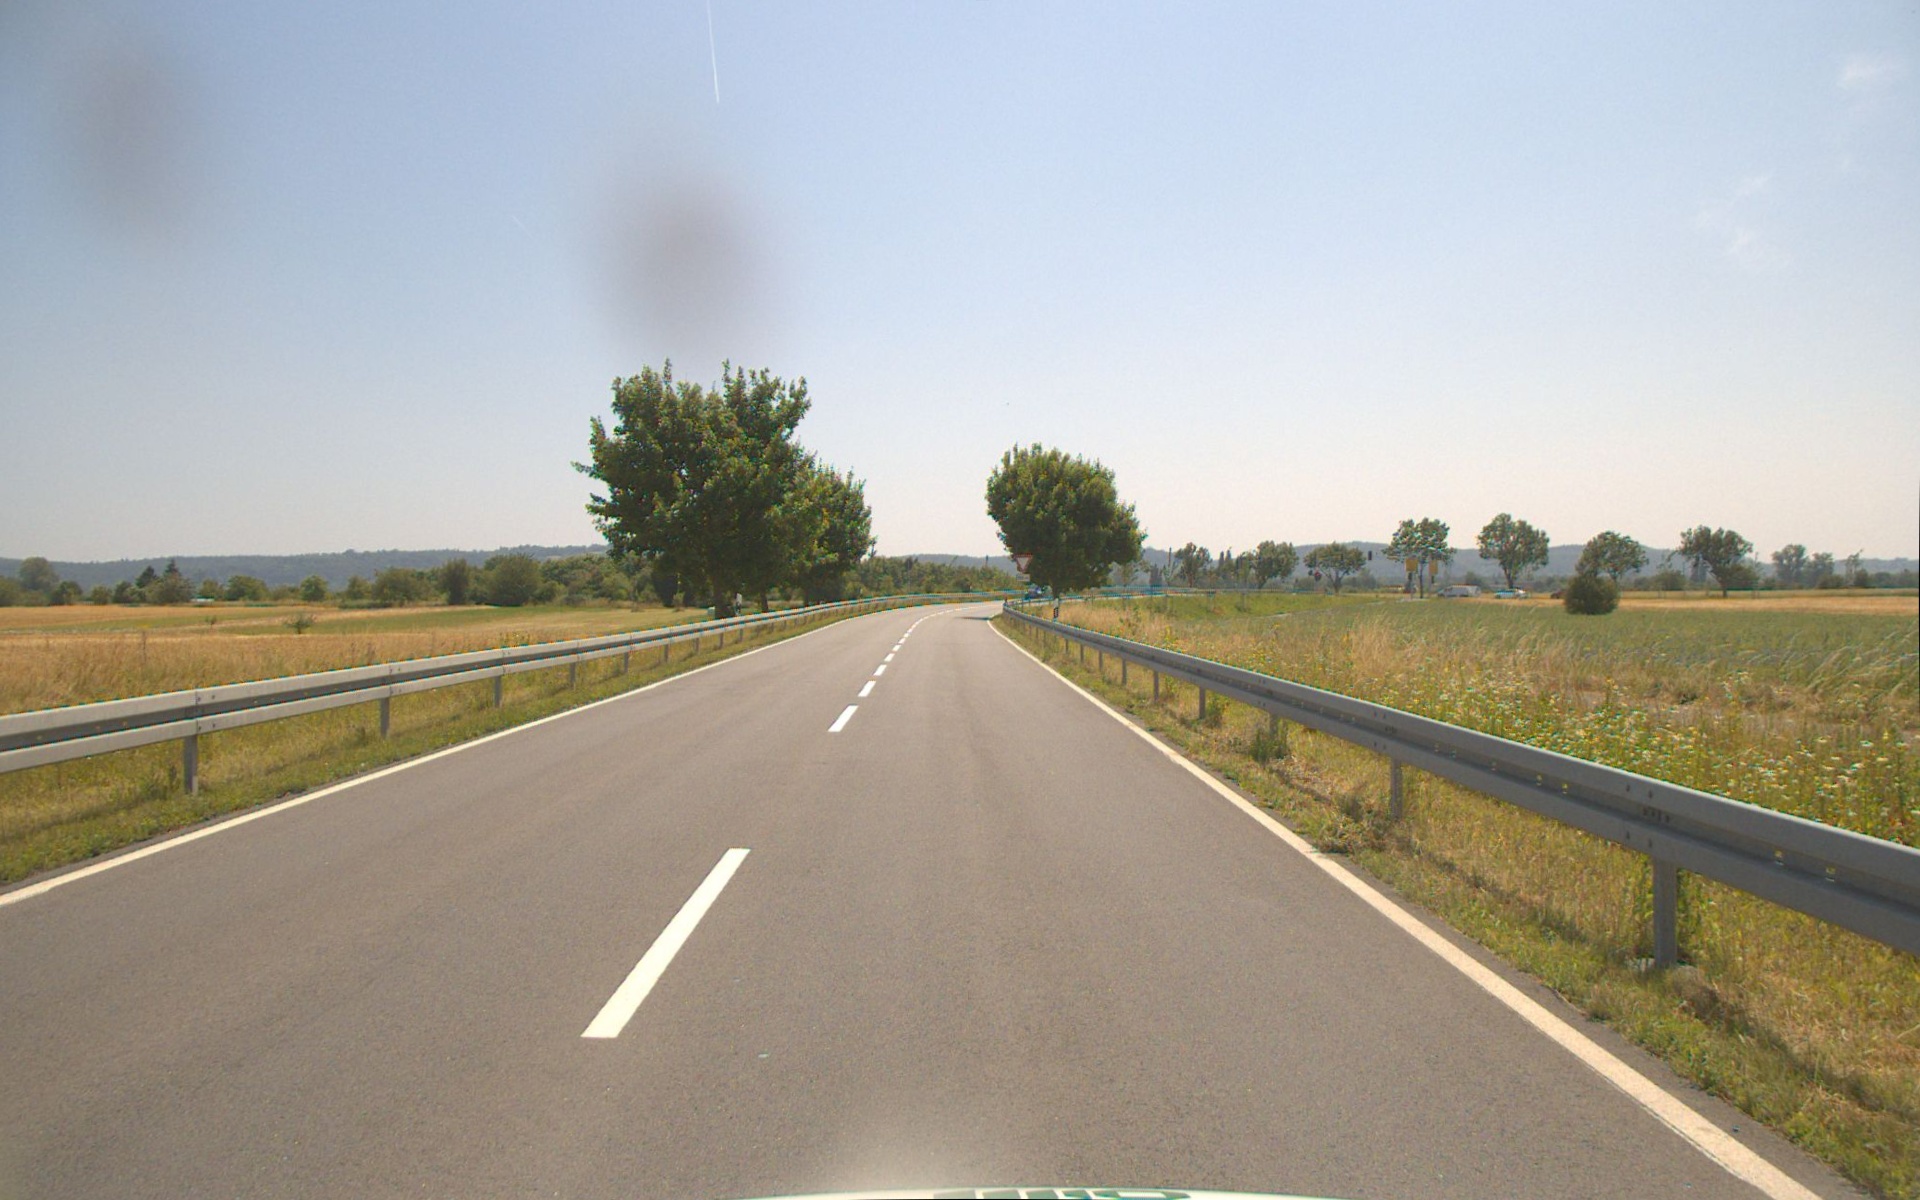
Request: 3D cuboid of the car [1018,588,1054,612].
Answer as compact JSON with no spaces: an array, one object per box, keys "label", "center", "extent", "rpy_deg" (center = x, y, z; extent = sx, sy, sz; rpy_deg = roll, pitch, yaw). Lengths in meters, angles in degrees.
[{"label":"car","center":[6.878,0.037,149.310],"extent":[1.953,2.049,3.999],"rpy_deg":[1,-1,22]}]
